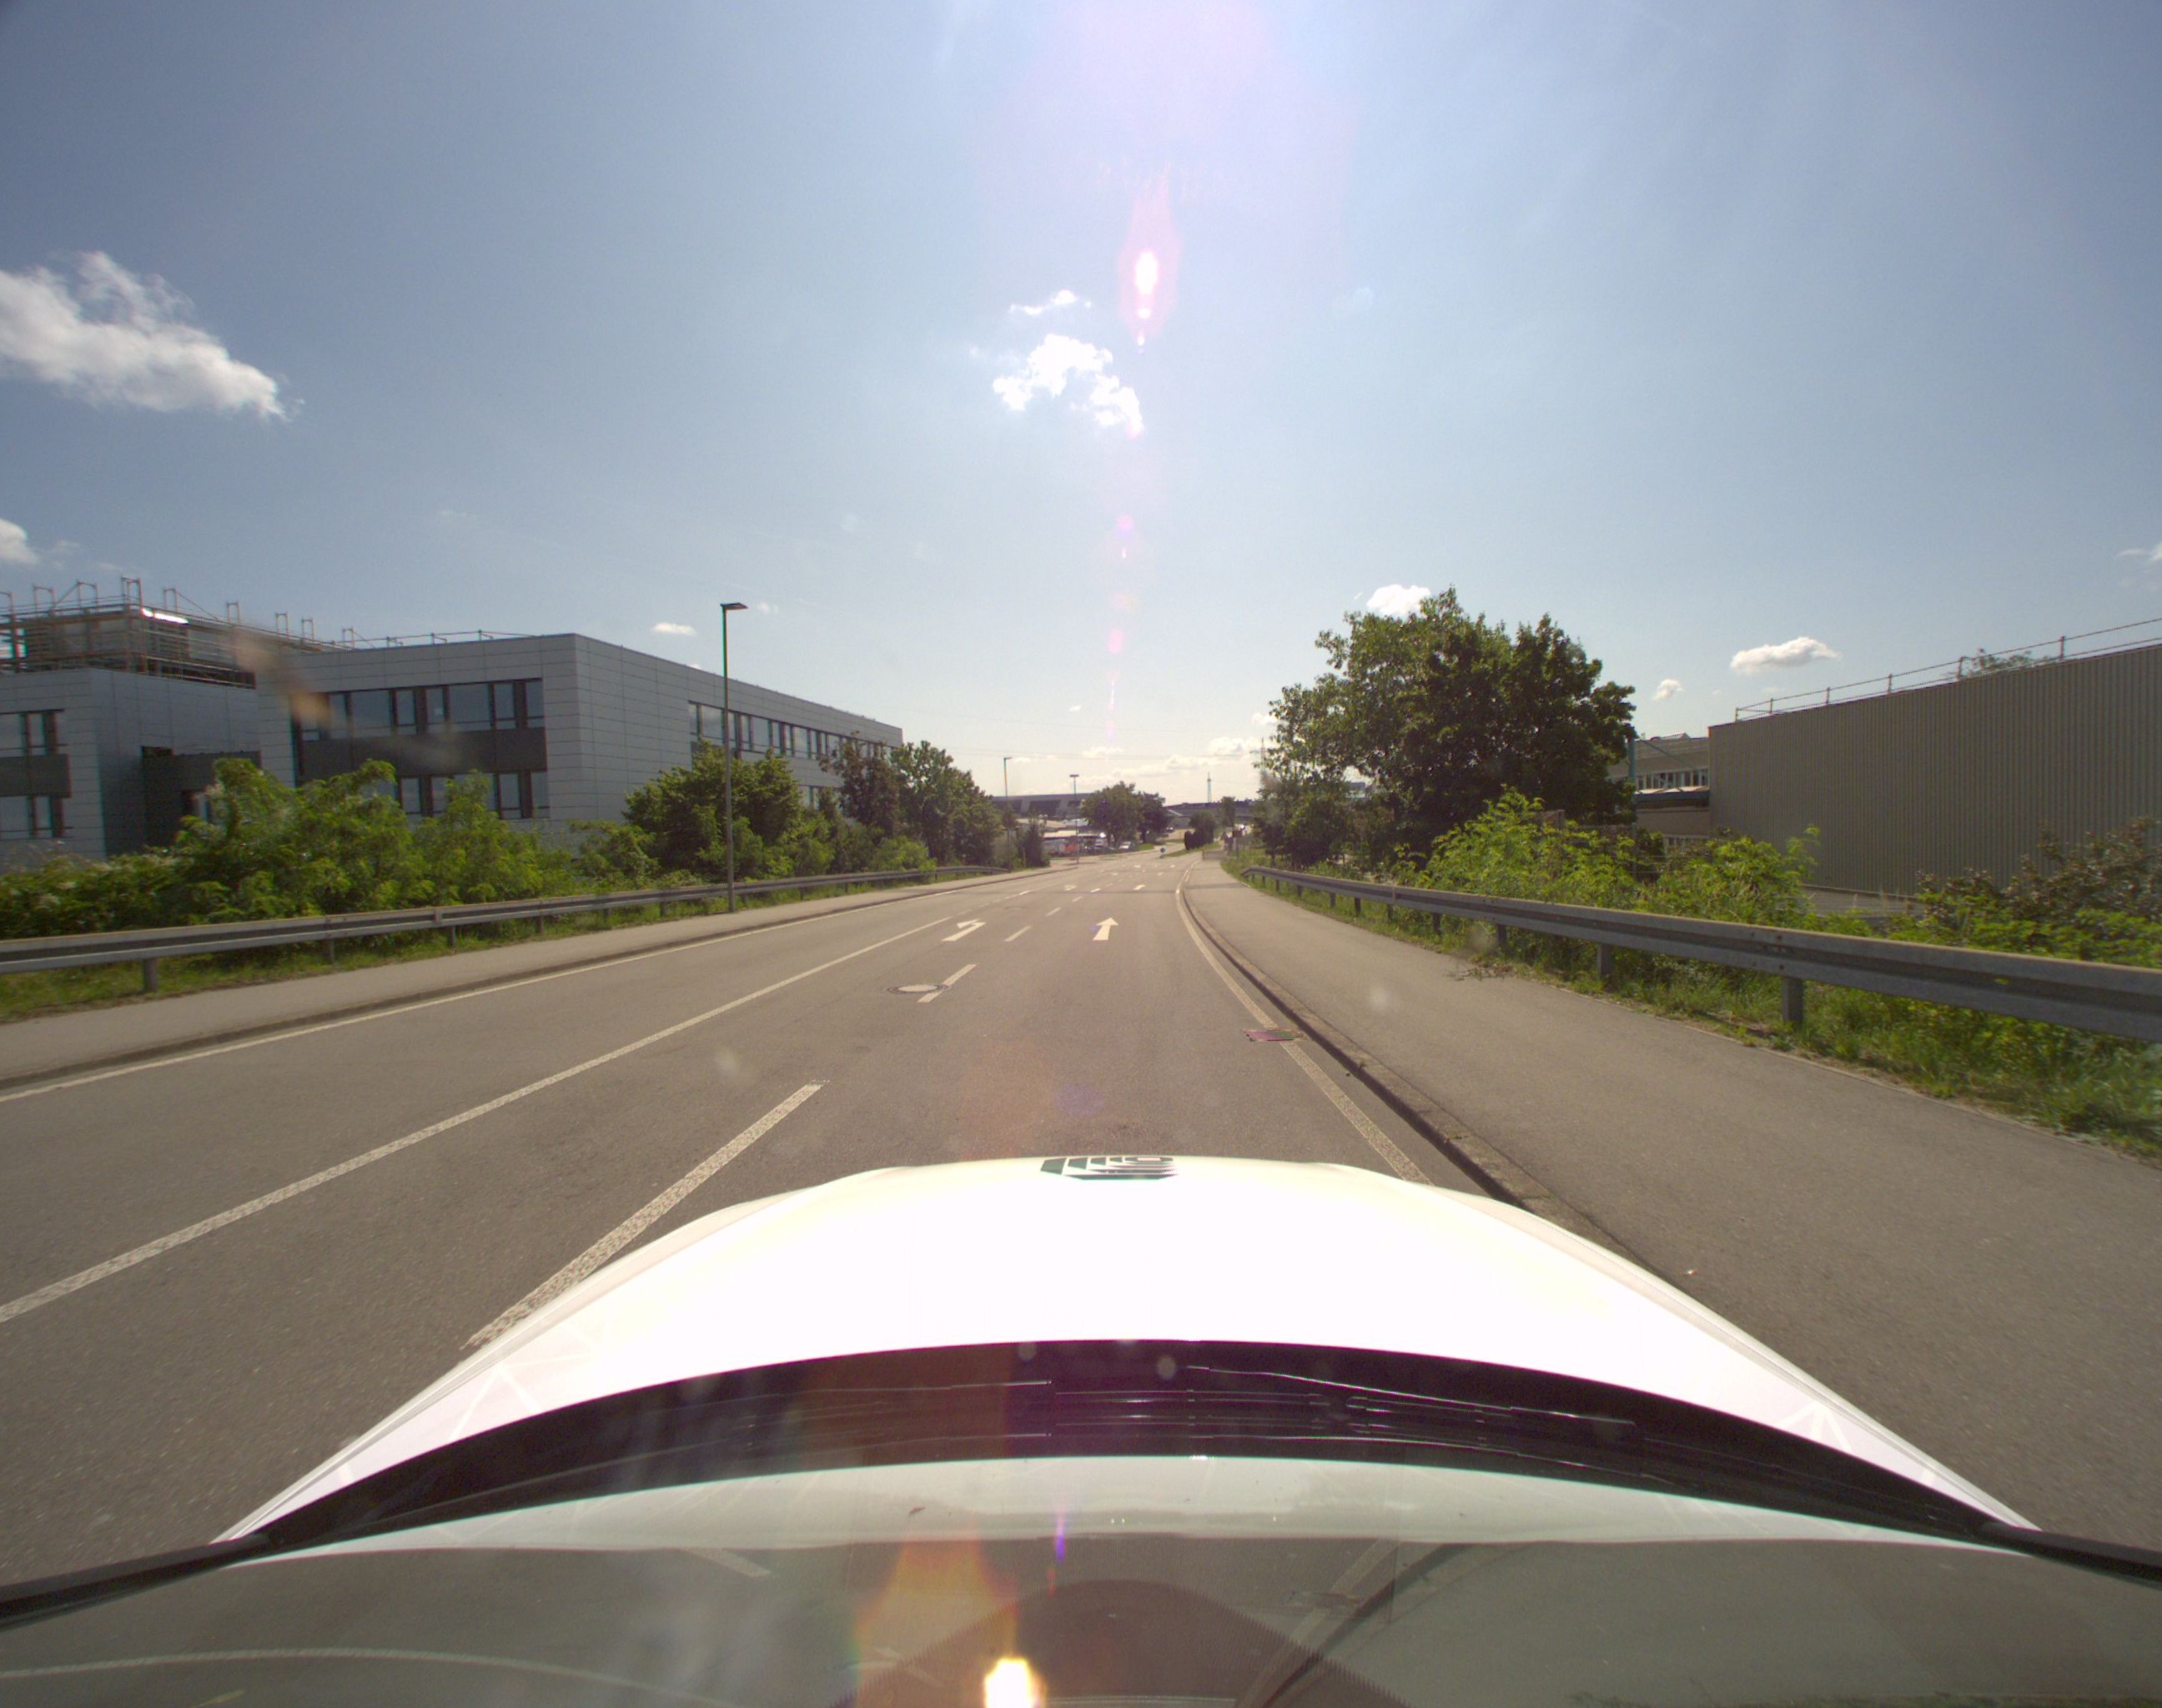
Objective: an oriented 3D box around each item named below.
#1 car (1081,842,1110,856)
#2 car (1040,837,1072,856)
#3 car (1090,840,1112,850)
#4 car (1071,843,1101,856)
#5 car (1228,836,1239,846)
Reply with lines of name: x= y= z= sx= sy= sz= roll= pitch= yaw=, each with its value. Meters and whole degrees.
car: x=2.217 y=-0.774 z=122.660 sx=3.948 sy=1.903 sz=2.013 roll=1 pitch=3 yaw=36
car: x=-3.579 y=-1.045 z=117.242 sx=4.309 sy=2.608 sz=2.013 roll=-1 pitch=1 yaw=37
car: x=3.762 y=-1.716 z=155.033 sx=3.977 sy=1.850 sz=1.833 roll=-2 pitch=1 yaw=-2
car: x=0.677 y=-0.731 z=120.787 sx=3.948 sy=1.780 sz=2.013 roll=1 pitch=3 yaw=36
car: x=31.628 y=-2.733 z=168.877 sx=2.257 sy=1.946 sz=4.680 roll=2 pitch=2 yaw=11
